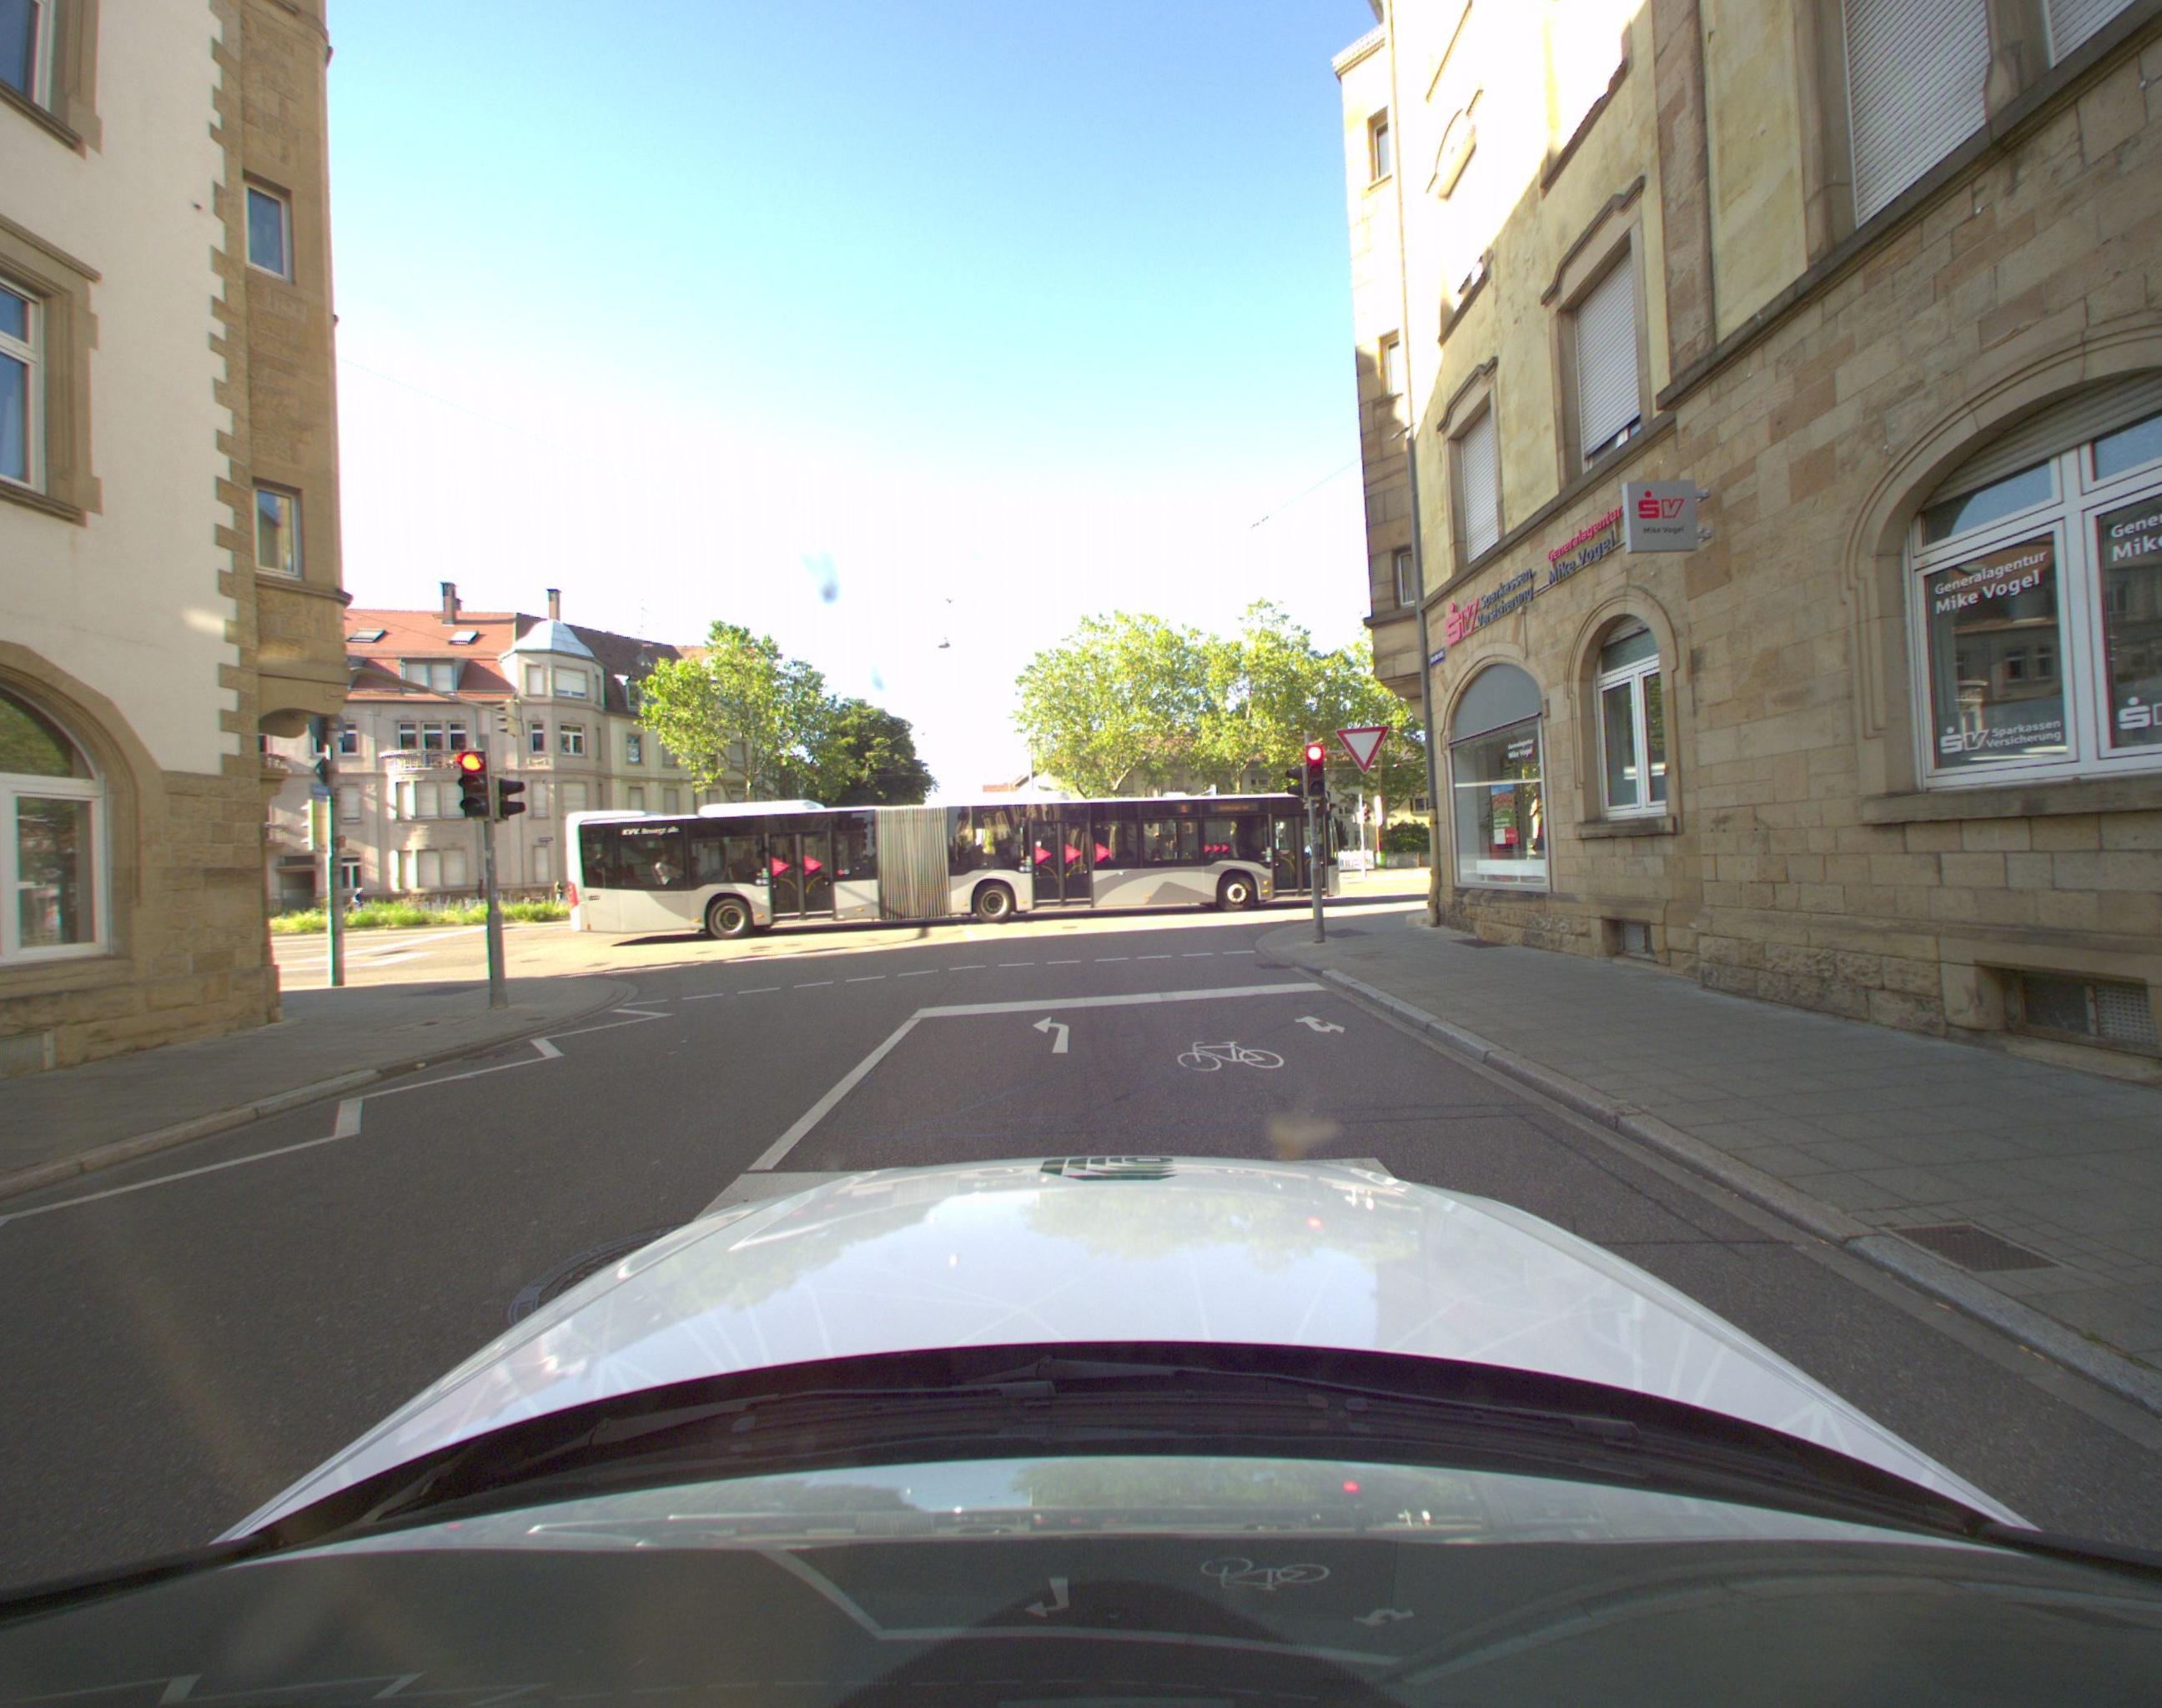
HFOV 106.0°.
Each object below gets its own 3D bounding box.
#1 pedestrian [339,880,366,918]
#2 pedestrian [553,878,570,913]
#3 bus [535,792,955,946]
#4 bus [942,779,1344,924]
[{"bbox_3d":[-36.963,2.264,41.341,0.738,1.851,0.846,0,-1,-17],"label":"pedestrian"},{"bbox_3d":[-28.223,2.224,44.278,0.741,1.851,0.842,0,-1,-31],"label":"pedestrian"},{"bbox_3d":[-7.608,0.305,19.624,8.814,3.096,2.739,-2,0,-7],"label":"bus"},{"bbox_3d":[1.475,-0.106,20.750,9.610,3.096,2.739,-2,0,-7],"label":"bus"}]
